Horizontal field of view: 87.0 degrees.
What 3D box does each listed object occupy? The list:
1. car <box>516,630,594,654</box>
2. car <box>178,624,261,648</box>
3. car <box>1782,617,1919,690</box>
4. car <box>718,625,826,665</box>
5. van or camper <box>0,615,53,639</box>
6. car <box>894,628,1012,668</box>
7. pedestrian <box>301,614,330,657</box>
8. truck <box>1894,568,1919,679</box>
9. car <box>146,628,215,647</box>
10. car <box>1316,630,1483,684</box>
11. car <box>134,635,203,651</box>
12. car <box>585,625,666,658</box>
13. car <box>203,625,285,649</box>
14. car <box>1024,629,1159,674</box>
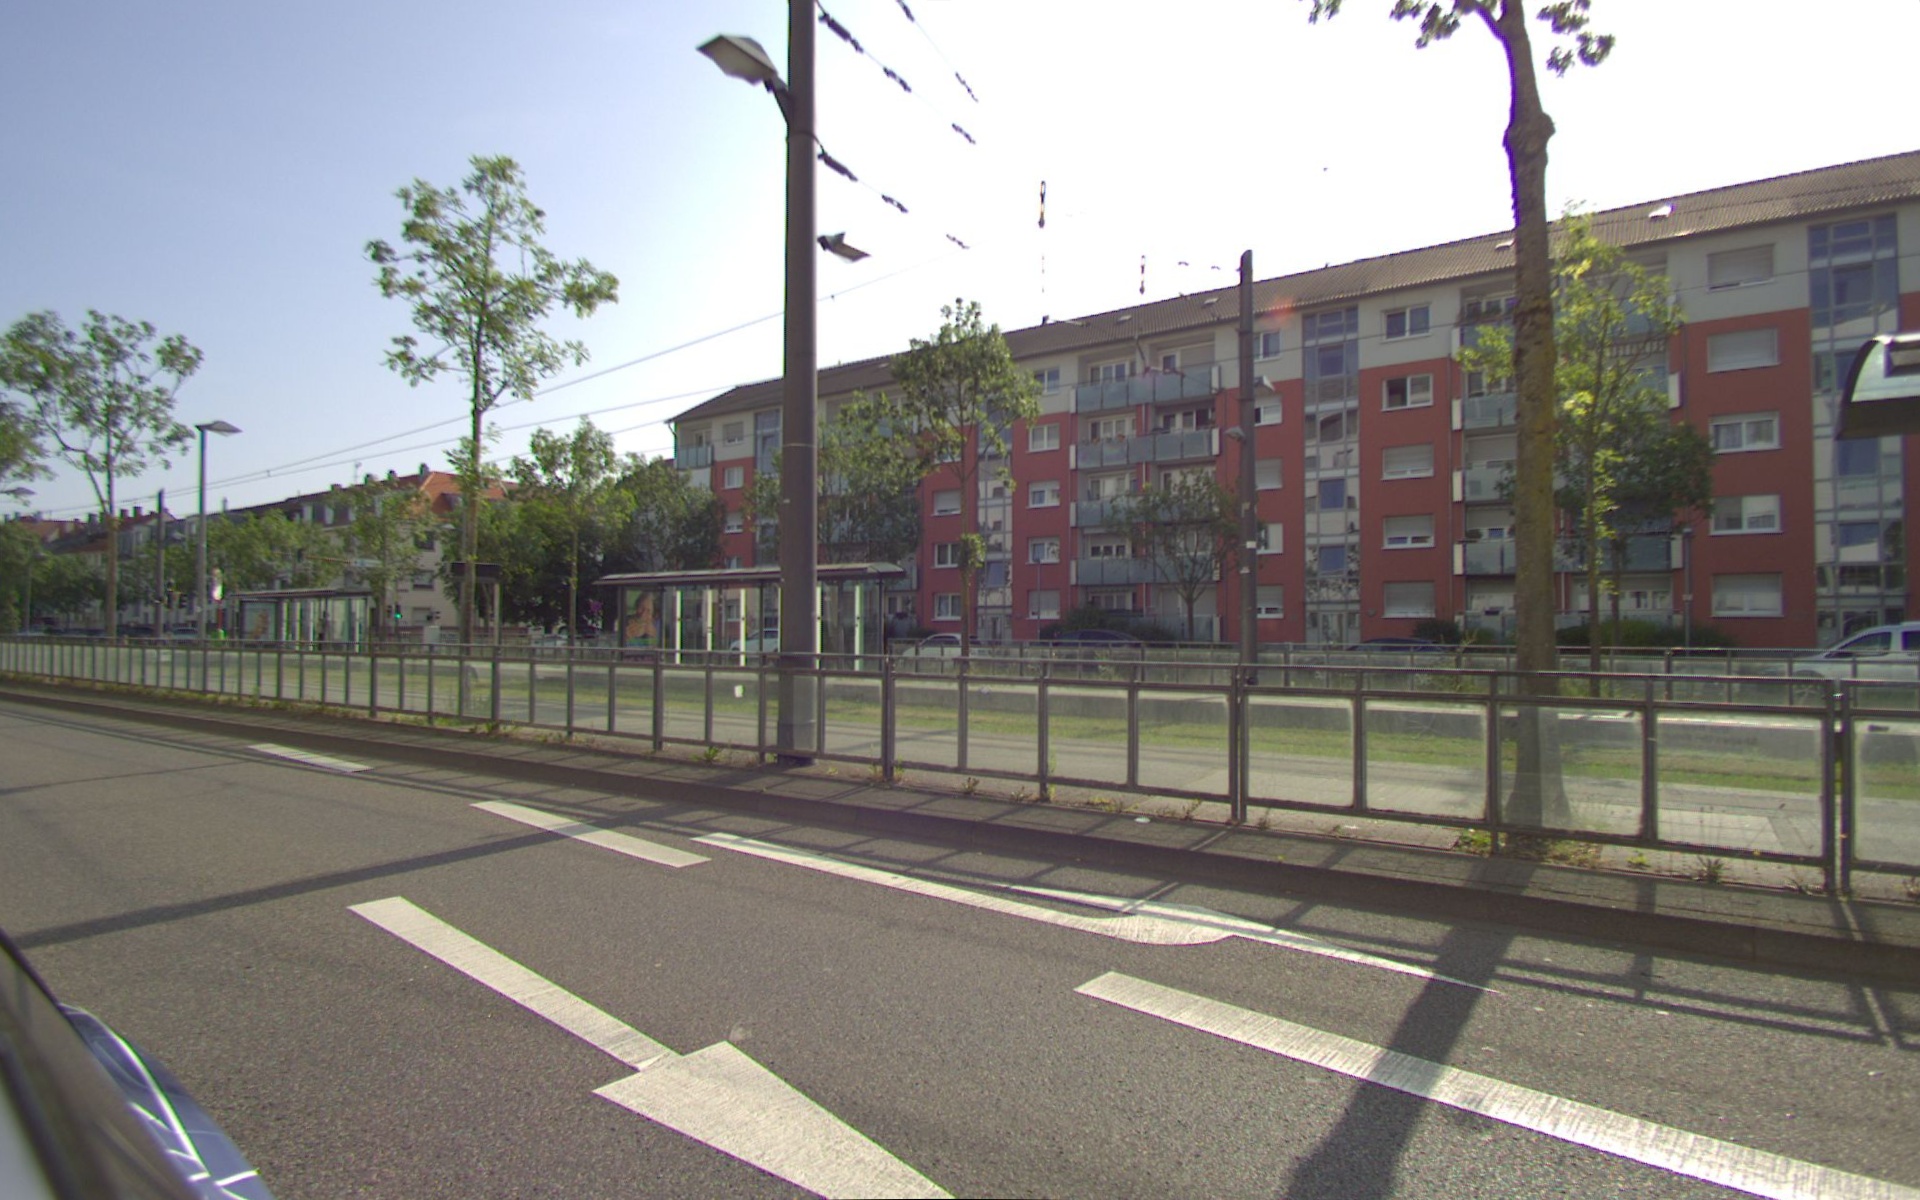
[{"bbox_3d":[-20.981,2.141,52.386,4.154,1.156,1.818,-1,0,35],"label":"car"},{"bbox_3d":[-52.955,2.542,72.442,4.388,1.526,2.006,-1,0,-18],"label":"car"},{"bbox_3d":[21.054,1.149,22.390,4.270,1.525,1.964,-1,0,35],"label":"car"},{"bbox_3d":[-8.104,1.880,43.510,4.526,1.568,1.964,-1,0,35],"label":"car"},{"bbox_3d":[-101.779,2.898,108.698,6.056,2.566,2.421,0,-1,-17],"label":"van or camper"},{"bbox_3d":[-0.272,1.759,37.916,4.059,1.371,1.964,-1,0,35],"label":"car"},{"bbox_3d":[-25.207,1.389,39.582,0.792,1.665,0.666,-1,-2,31],"label":"pedestrian"},{"bbox_3d":[25.990,0.495,22.590,7.223,2.582,2.346,-1,0,35],"label":"truck"},{"bbox_3d":[-60.335,2.899,78.393,3.930,1.279,1.893,-1,0,-25],"label":"car"},{"bbox_3d":[12.448,1.562,28.718,4.059,1.371,1.964,-1,0,35],"label":"car"},{"bbox_3d":[-62.711,3.387,80.240,3.930,1.268,1.882,1,-2,-22],"label":"car"},{"bbox_3d":[-16.279,2.005,49.251,3.817,1.482,1.818,-1,0,35],"label":"car"},{"bbox_3d":[-49.852,2.561,70.548,4.277,1.474,1.970,-1,0,-22],"label":"car"},{"bbox_3d":[4.414,1.685,34.136,4.059,1.371,1.964,-1,0,35],"label":"car"}]
